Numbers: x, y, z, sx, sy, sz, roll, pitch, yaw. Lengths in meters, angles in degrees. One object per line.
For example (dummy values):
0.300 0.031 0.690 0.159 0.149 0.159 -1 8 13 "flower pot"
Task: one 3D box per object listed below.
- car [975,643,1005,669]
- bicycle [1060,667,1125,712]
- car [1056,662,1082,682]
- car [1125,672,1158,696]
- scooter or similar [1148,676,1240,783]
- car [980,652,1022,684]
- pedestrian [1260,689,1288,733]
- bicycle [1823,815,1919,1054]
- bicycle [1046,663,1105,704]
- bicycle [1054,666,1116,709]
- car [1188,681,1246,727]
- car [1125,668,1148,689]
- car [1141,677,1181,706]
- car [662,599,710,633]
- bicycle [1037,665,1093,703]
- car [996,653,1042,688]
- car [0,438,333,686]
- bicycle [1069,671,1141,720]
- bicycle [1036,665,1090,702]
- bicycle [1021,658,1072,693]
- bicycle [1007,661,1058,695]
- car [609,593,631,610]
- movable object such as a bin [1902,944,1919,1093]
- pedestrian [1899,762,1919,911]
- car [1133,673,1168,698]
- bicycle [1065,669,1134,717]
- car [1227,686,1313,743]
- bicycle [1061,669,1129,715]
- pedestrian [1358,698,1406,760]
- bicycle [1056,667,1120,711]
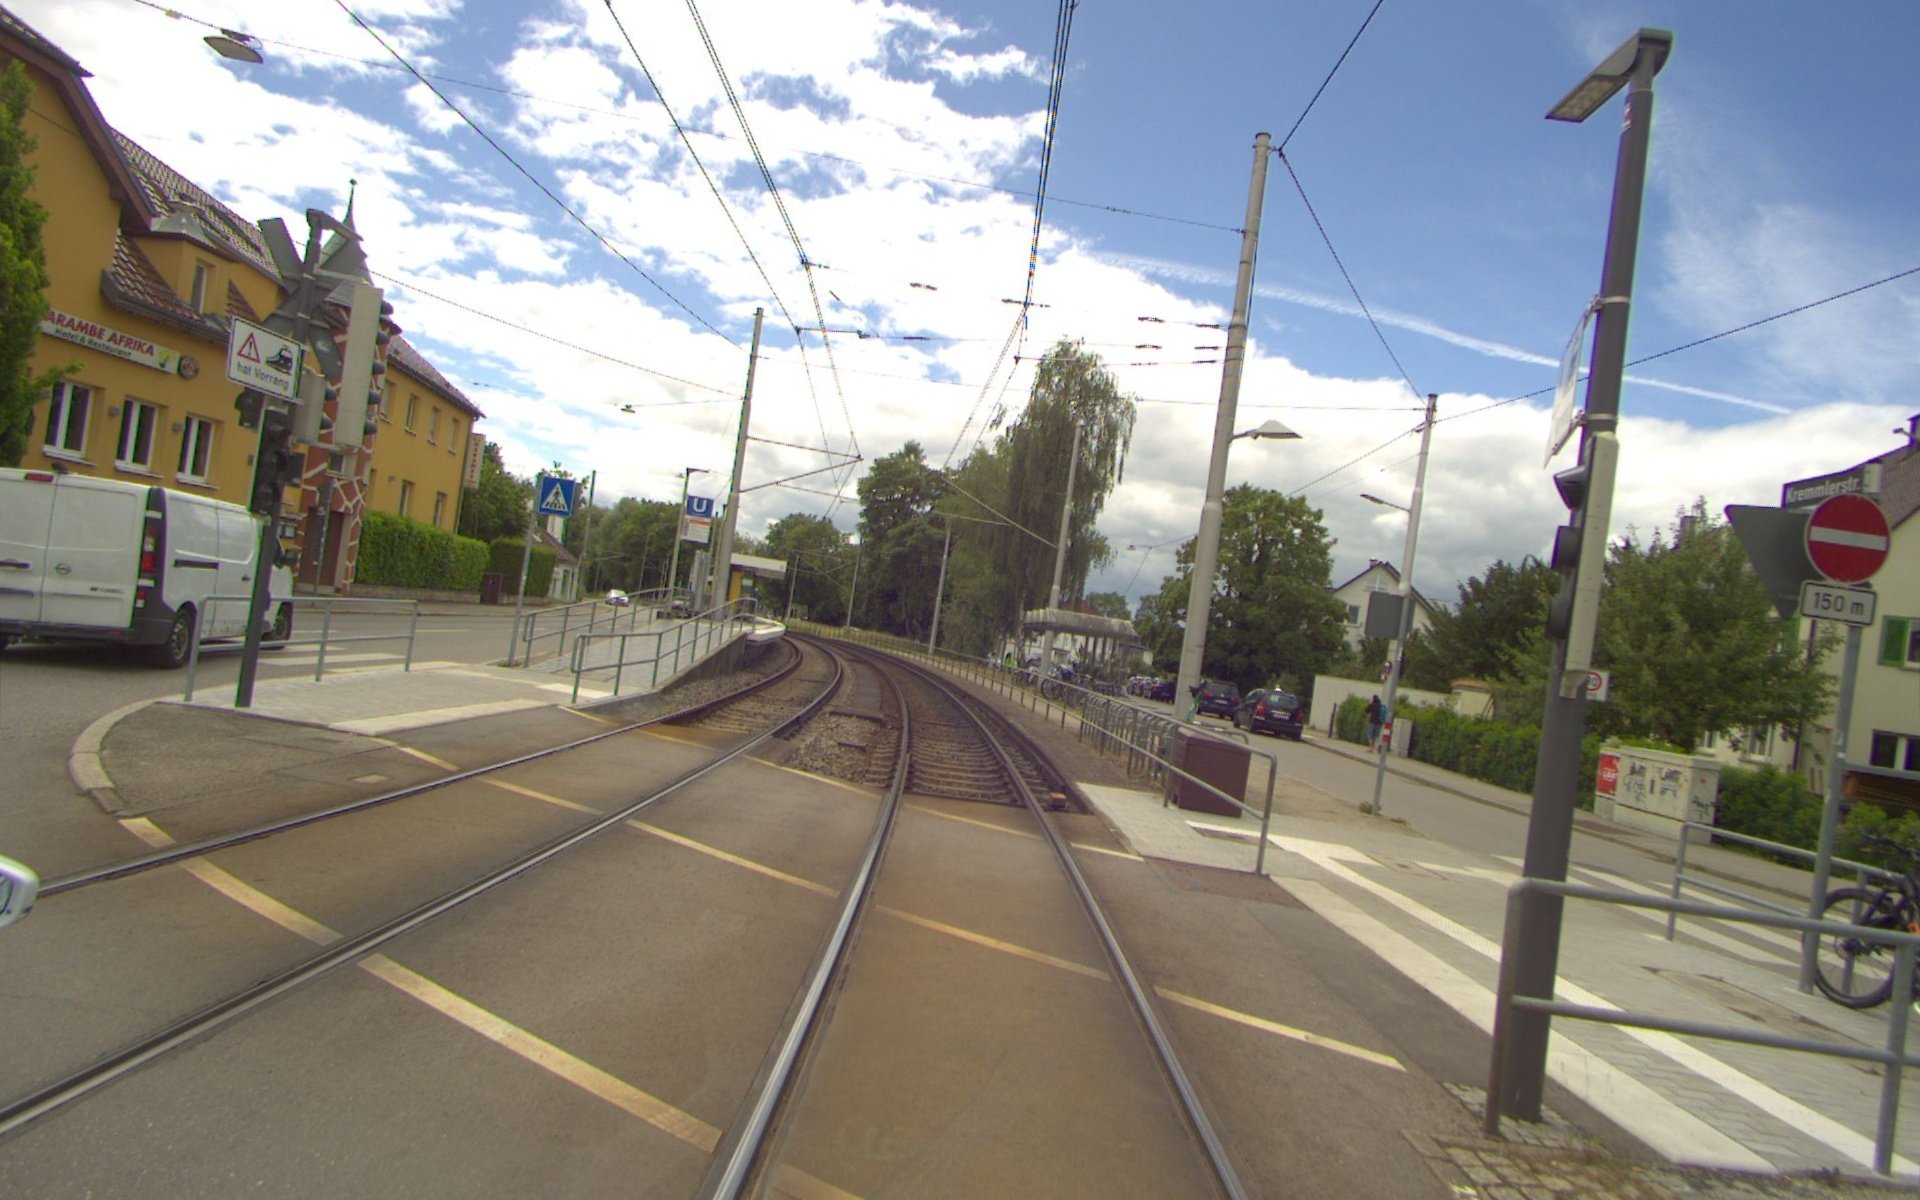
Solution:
2.072 3.820 68.858 1.812 1.505 4.506 8 -2 3 "car"
3.935 2.663 29.951 1.739 1.053 0.557 9 -1 -2 "bicycle"
10.429 6.850 95.975 2.031 1.591 4.266 8 -2 10 "car"
13.836 6.400 76.878 1.729 1.504 3.906 8 -3 3 "car"
3.316 1.826 14.295 1.032 1.332 0.489 8 0 0 "scooter or similar"
2.553 4.272 63.633 1.733 1.592 4.096 9 -2 -8 "car"
13.776 4.866 44.167 0.814 1.791 0.683 7 -1 32 "pedestrian"
5.577 1.929 5.615 0.458 1.169 1.694 8 -2 20 "bicycle"
3.796 2.747 33.144 1.739 1.053 0.557 9 -1 -2 "bicycle"
3.908 2.744 31.563 1.739 1.053 0.557 9 -1 -2 "bicycle"
11.837 4.748 46.644 1.787 1.654 4.846 8 -2 7 "car"
16.711 7.416 95.466 1.787 1.654 4.248 8 -2 7 "car"
13.024 5.922 65.396 1.729 1.504 4.937 7 -3 4 "car"
-16.373 0.988 60.251 2.327 1.581 4.365 10 -3 -12 "car"
3.642 2.920 34.973 1.739 1.053 0.557 9 -1 -2 "bicycle"
3.390 4.063 58.186 1.707 1.592 3.997 8 -2 -8 "car"
-9.682 -0.423 12.109 2.094 2.158 5.421 10 -2 -18 "car"
3.948 2.607 27.470 1.739 1.053 0.557 9 -1 -2 "bicycle"
3.650 2.951 35.640 1.739 1.053 0.557 9 -1 -2 "bicycle"
3.278 2.879 38.190 1.742 1.053 0.556 9 -1 -12 "bicycle"
2.793 3.005 38.883 1.743 1.053 0.556 9 -1 -13 "bicycle"
-33.075 0.122 97.788 1.798 1.436 4.447 6 -2 -19 "car"
4.737 1.929 4.332 0.569 0.834 1.095 8 -2 23 "movable object such as a bin"
13.047 3.165 13.112 0.618 1.938 0.825 8 0 -26 "pedestrian"
13.466 6.020 71.256 1.729 1.504 4.704 7 -3 4 "car"
3.918 2.619 28.373 1.739 1.053 0.557 9 -1 -2 "bicycle"
11.005 4.037 36.001 1.787 1.502 4.427 8 -2 4 "car"
3.891 2.650 29.091 1.739 1.053 0.557 9 -1 -2 "bicycle"
12.862 3.914 30.699 0.797 1.705 0.948 8 -1 -8 "pedestrian"
3.904 2.713 30.662 1.739 1.053 0.557 9 -1 -2 "bicycle"
